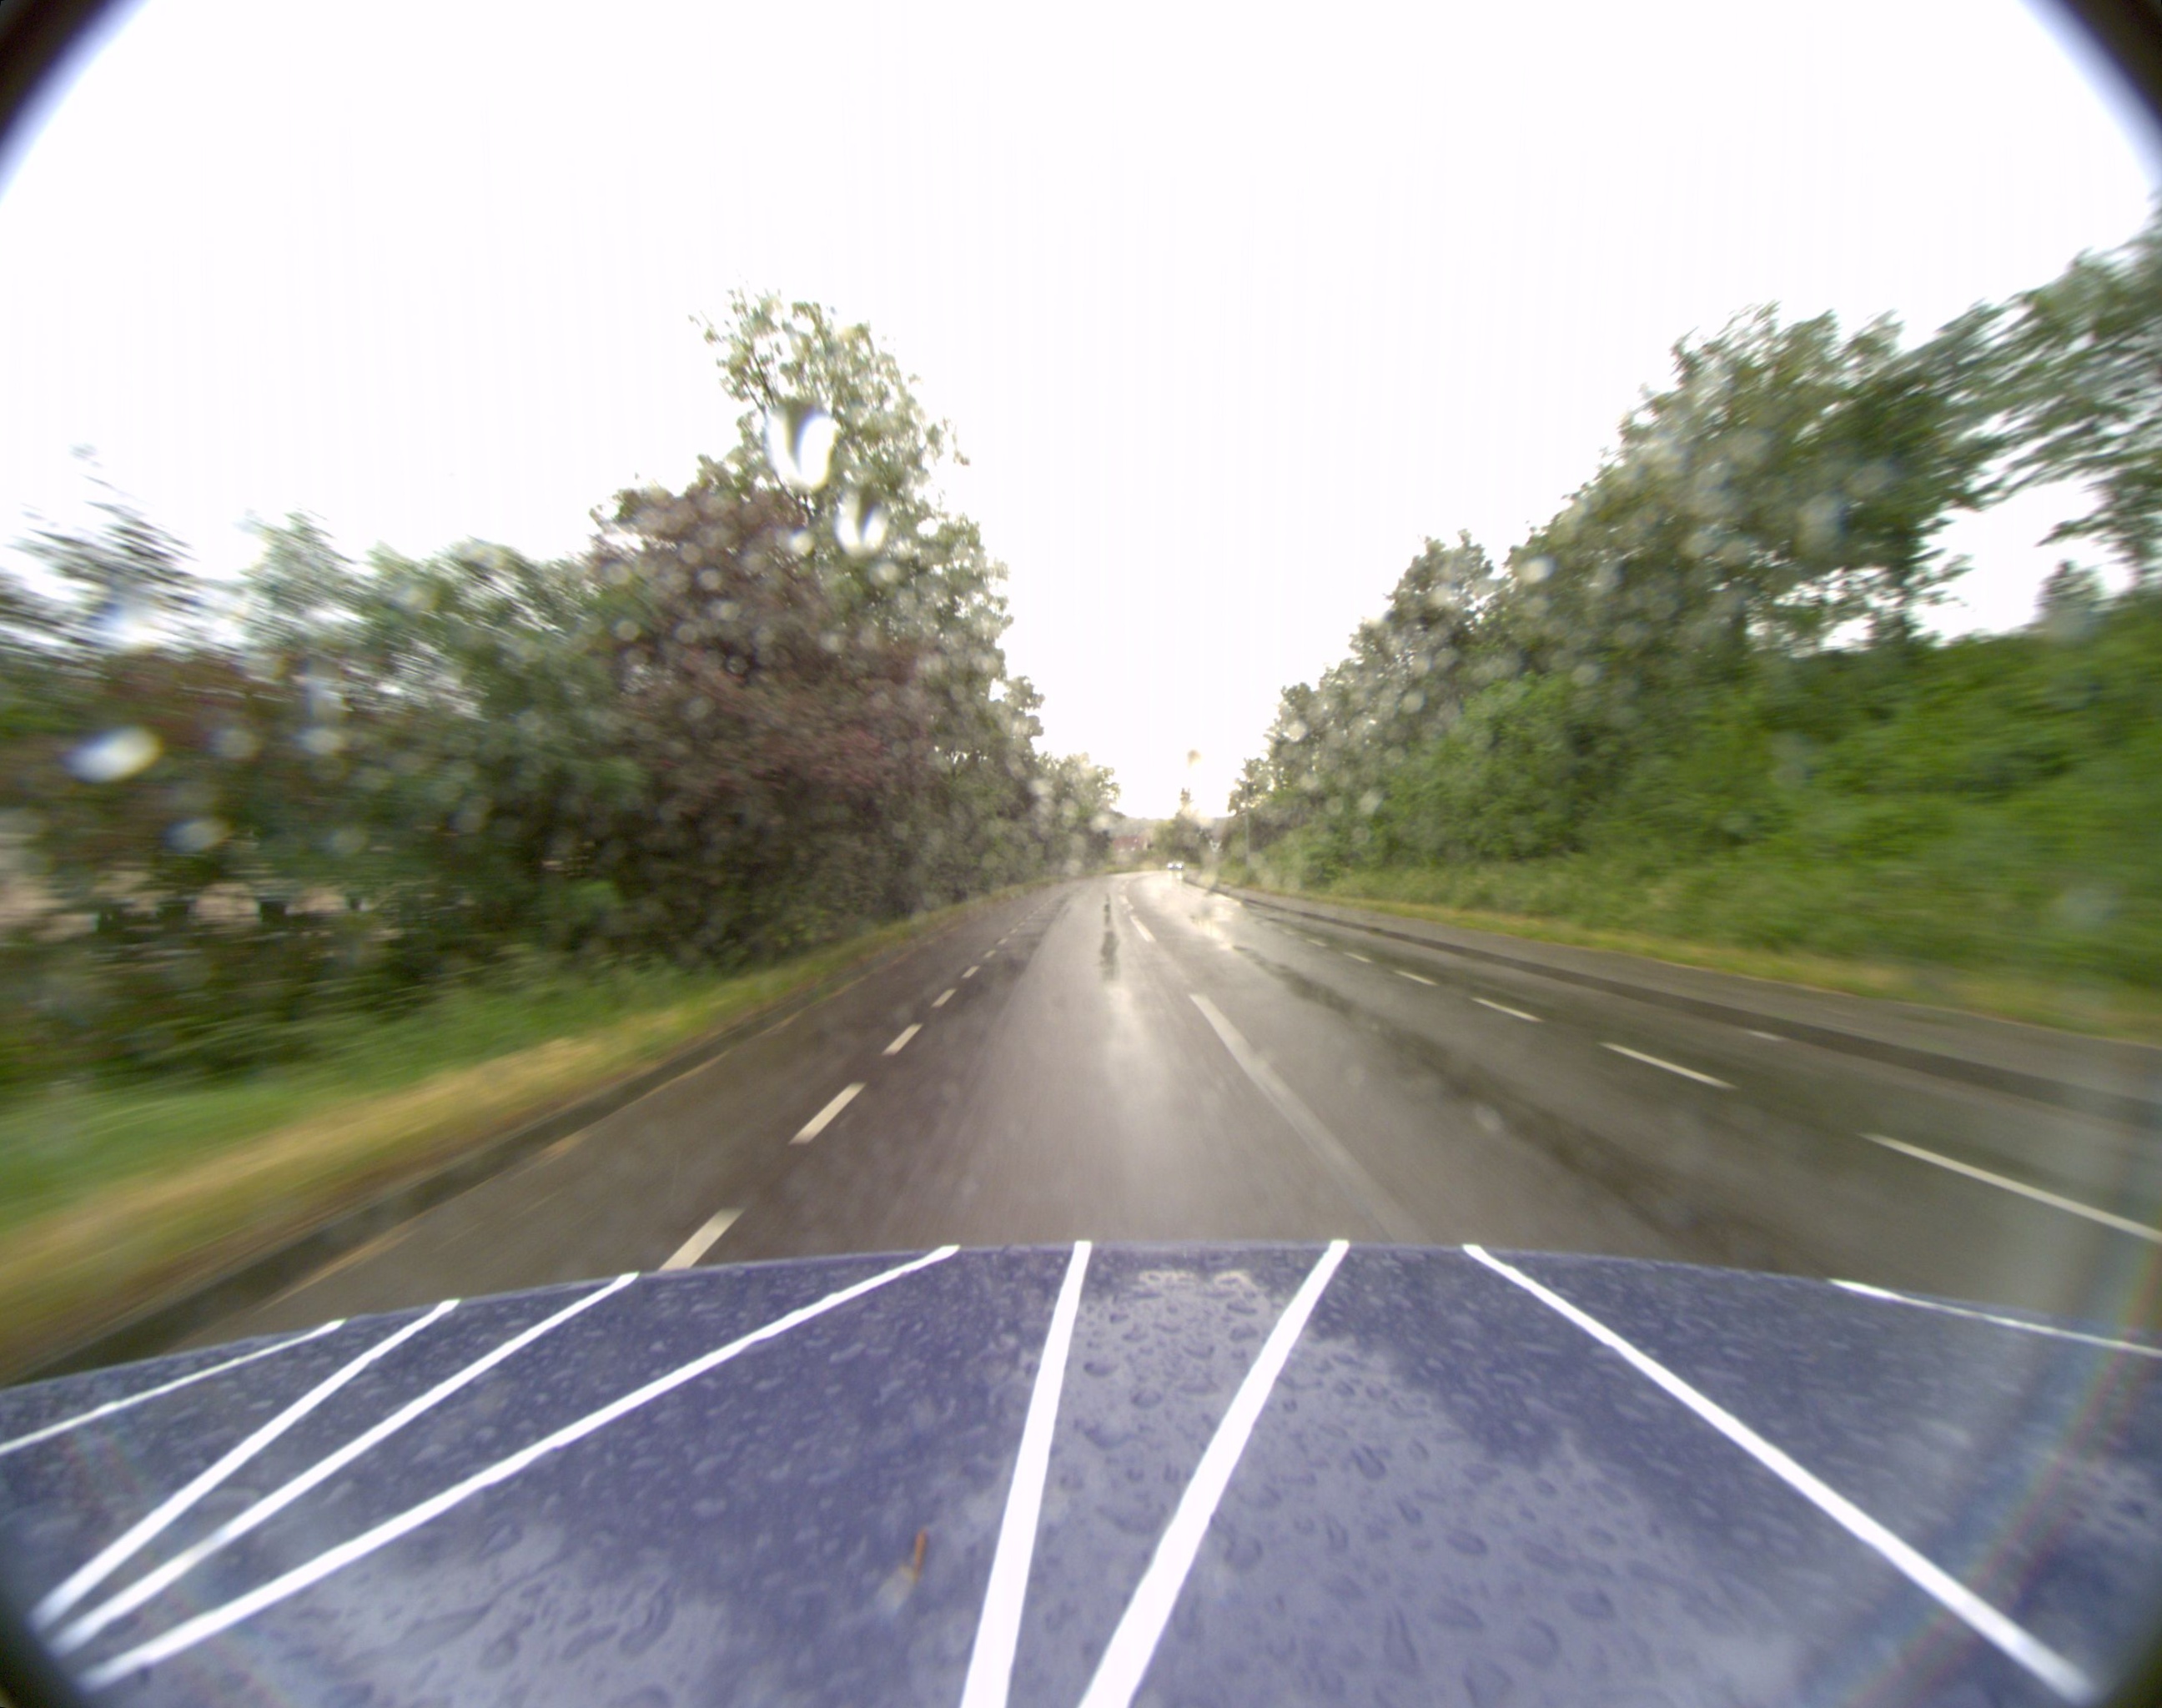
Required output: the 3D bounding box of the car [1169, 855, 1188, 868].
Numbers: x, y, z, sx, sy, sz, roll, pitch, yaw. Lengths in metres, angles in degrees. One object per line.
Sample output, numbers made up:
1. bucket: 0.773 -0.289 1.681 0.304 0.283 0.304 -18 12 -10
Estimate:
1. car: 14.511 1.151 112.942 1.996 1.831 4.005 -2 0 18
